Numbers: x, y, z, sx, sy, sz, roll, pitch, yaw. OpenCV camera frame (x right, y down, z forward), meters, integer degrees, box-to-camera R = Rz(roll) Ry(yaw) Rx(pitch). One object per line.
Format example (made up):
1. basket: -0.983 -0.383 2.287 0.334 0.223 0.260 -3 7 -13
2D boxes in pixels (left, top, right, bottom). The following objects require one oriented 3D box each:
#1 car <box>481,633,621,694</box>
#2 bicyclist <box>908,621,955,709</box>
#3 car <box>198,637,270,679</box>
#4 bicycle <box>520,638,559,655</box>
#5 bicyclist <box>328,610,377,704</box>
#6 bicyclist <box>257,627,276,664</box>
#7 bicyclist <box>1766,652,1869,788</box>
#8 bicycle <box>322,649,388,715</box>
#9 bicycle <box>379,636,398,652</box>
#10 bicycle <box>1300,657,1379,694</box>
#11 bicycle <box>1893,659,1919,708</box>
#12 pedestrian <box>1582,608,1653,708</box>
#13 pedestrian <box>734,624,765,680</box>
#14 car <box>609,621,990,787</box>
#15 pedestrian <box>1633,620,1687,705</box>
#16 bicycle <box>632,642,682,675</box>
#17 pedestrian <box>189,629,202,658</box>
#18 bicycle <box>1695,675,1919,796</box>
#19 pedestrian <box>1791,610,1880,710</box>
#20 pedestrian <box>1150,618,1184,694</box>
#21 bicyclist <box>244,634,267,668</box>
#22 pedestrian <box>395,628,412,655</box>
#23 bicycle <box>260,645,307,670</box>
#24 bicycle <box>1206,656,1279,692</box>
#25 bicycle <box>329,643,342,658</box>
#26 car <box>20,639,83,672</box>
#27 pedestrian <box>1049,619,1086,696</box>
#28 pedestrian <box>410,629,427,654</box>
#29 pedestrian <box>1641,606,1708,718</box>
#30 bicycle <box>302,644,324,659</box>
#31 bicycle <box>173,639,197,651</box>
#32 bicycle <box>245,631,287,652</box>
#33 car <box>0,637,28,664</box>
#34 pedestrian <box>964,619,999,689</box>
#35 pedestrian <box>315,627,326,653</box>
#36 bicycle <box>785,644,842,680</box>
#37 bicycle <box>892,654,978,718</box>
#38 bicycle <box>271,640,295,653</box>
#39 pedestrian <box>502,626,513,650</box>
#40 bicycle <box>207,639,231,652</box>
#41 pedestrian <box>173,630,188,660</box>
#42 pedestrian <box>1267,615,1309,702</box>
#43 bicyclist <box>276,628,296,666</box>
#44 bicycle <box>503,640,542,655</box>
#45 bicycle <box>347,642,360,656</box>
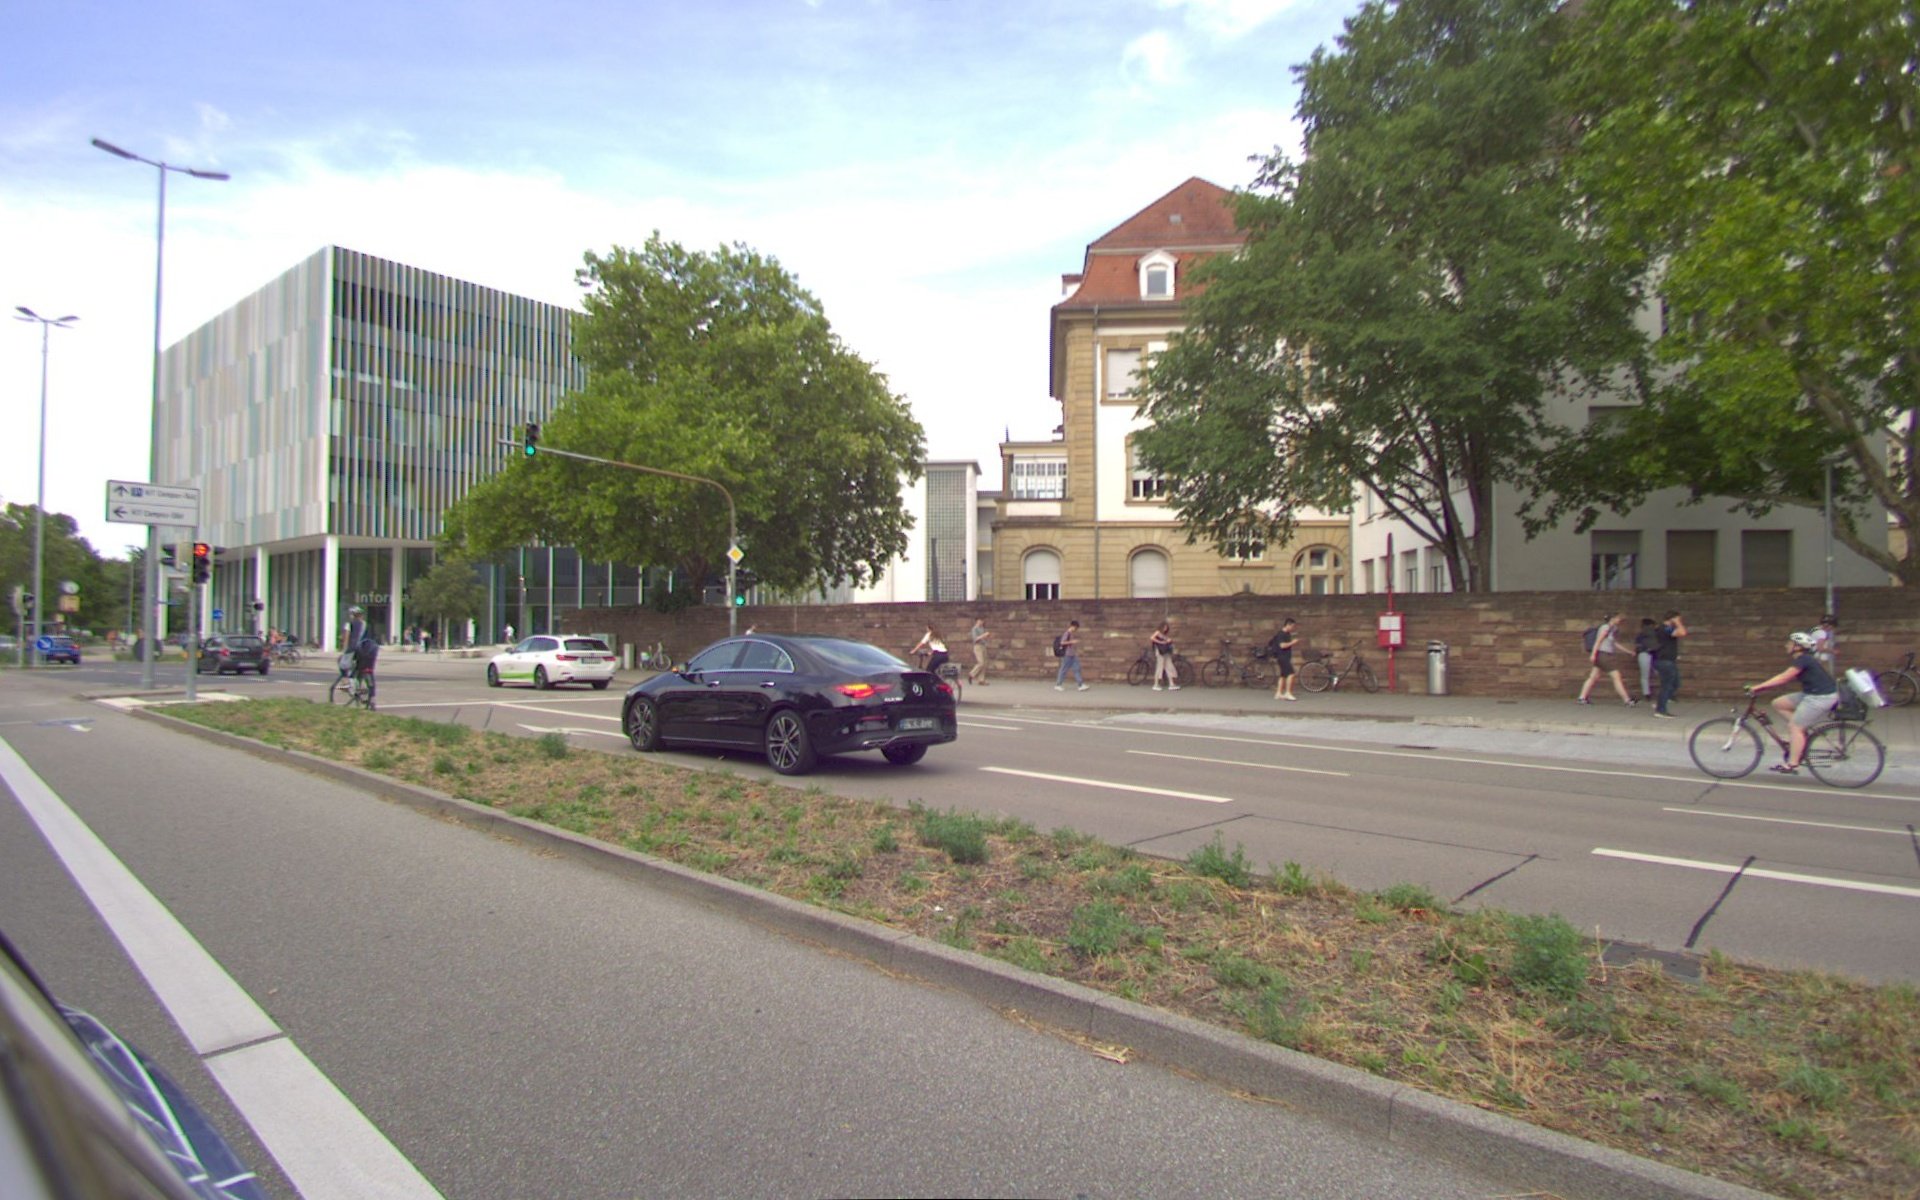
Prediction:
1. car: -11.075 1.651 27.271 4.415 1.500 1.782 -2 -3 42
2. bicyclist: -0.602 1.347 21.149 0.610 1.796 0.812 2 -3 -42
3. car: -27.320 2.160 38.044 3.638 1.500 1.554 -2 -3 44
4. bicycle: -28.448 3.142 68.502 0.792 1.098 2.660 -1 -2 24
5. bicyclist: -10.492 0.970 17.474 0.565 1.586 0.700 2 -3 -43
6. bicyclist: -34.559 2.274 50.412 0.559 1.820 0.596 -1 -1 26
7. bicyclist: 9.587 1.309 11.326 0.811 1.430 0.573 -2 -3 44
8. bicycle: -10.502 1.387 17.537 0.566 1.063 1.928 2 -3 -43
9. bicycle: -39.546 3.048 70.040 0.389 1.037 1.545 -1 0 2
10. bicycle: 8.662 1.730 23.135 1.616 0.803 0.437 -3 -1 34
11. bicycle: 17.534 1.472 17.781 1.612 0.834 0.438 -1 0 26
12. pedestrian: 12.314 1.068 18.977 0.906 1.796 0.758 1 -1 14
13. pedestrian: -6.877 1.693 33.055 0.775 1.796 0.745 1 -1 8
14. car: -1.930 1.014 11.279 4.402 1.500 1.783 -2 -3 41
15. pedestrian: 13.634 1.201 19.719 0.730 1.604 0.584 1 -1 20
16. bicycle: -10.928 2.092 36.456 2.162 1.134 0.572 -2 0 38
17. pedestrian: -48.252 2.754 63.886 0.624 1.851 0.506 -3 -3 39
18. bicycle: 9.529 1.473 11.371 1.965 1.179 0.575 -2 -3 45
19. pedestrian: 15.178 1.025 17.577 0.915 1.684 0.758 1 -1 14
20. pedestrian: 4.991 1.342 24.433 0.775 1.796 0.758 1 -1 11
21. bicyclist: -35.901 2.602 51.565 0.720 1.685 0.722 -1 -1 26
22. pedestrian: -36.176 2.695 65.812 0.670 1.753 0.729 0 -2 6
23. bicycle: -33.066 2.819 49.518 0.603 1.179 1.880 -1 -2 24
24. bicycle: 6.792 1.783 24.403 1.616 0.803 0.437 -3 -1 34
25. bicycle: -43.261 3.487 70.135 0.387 0.944 1.603 -1 0 -17
26. car: -45.738 2.756 50.929 4.101 1.523 1.783 0 -2 40
27. pedestrian: 2.585 1.370 24.340 0.776 1.796 0.758 1 -1 13
28. pedestrian: -35.247 2.682 65.863 0.671 1.612 0.728 -1 -2 9
29. pedestrian: 11.898 1.017 16.881 0.716 1.796 0.756 1 -2 19
30. bicycle: -45.234 3.593 70.791 0.389 0.944 1.608 -1 0 6
31. bicycle: -70.831 4.074 92.449 0.433 1.031 1.684 -2 0 34
32. bicycle: -34.569 2.046 50.430 0.568 0.996 1.677 -1 -1 26
33. car: -54.453 2.834 57.450 4.285 1.500 1.783 -2 -3 40
34. pedestrian: 0.569 1.411 26.553 0.775 1.796 0.744 1 -1 10
35. pedestrian: -50.096 3.131 79.282 0.623 2.059 0.506 -2 -3 38
36. bicycle: -4.654 1.953 32.089 1.977 1.066 0.543 -2 0 36
37. bicycle: -0.544 1.761 21.074 0.611 1.226 2.047 2 -3 -42
38. bicycle: -52.880 3.636 79.070 0.388 0.944 1.528 -2 0 34
39. pedestrian: -34.163 2.887 76.429 0.627 1.792 0.597 0 -2 -5
40. bicycle: -62.845 3.859 85.839 0.388 1.031 1.564 -2 -1 34
41. pedestrian: -48.613 2.792 63.113 0.772 1.851 0.506 -3 -3 39
42. pedestrian: 6.919 1.213 21.379 0.776 1.796 0.758 1 -1 14
43. bicyclist: -33.026 2.299 49.573 0.559 1.820 0.596 -1 -2 25
44. bicycle: -30.129 3.236 69.732 0.669 1.007 2.660 -1 -2 24
45. bicycle: -42.204 3.414 70.376 0.387 0.944 1.603 -1 0 -17
